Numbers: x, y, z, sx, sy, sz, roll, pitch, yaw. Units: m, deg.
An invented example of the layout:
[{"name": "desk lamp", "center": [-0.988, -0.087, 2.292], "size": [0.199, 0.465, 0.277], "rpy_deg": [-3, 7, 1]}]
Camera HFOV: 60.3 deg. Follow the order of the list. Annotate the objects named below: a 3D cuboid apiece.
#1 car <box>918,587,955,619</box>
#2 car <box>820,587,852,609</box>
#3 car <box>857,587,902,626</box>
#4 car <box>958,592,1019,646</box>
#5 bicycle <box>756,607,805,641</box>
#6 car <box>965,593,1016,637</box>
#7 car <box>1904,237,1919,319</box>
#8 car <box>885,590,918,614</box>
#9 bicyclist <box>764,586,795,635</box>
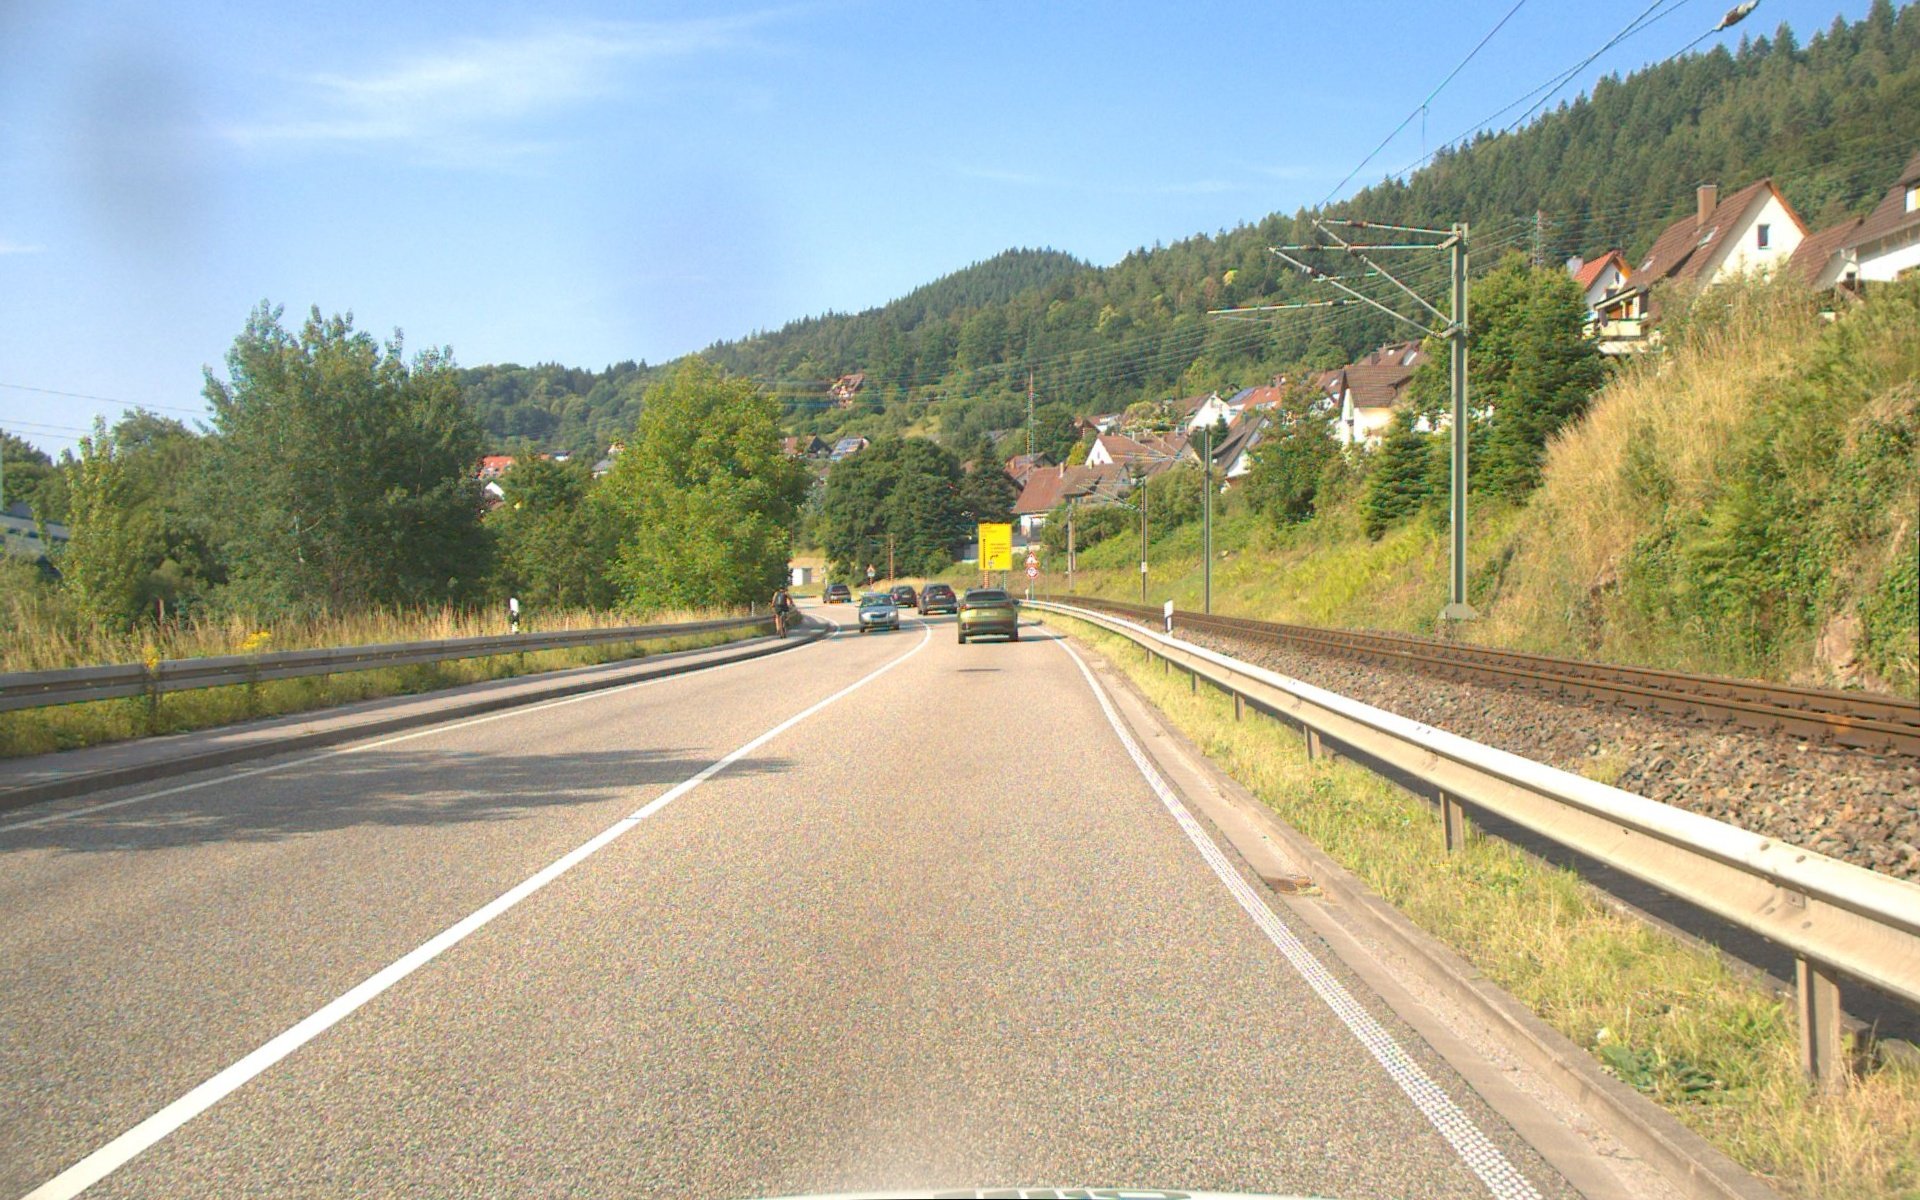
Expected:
[{"name": "car", "center": [-1.302, 0.161, 90.867], "size": [1.843, 1.716, 3.997], "rpy_deg": [1, 0, -4]}, {"name": "car", "center": [-10.943, -0.172, 145.404], "size": [2.029, 1.843, 3.983], "rpy_deg": [2, 0, -16]}, {"name": "car", "center": [-3.253, 0.238, 67.506], "size": [1.545, 1.505, 4.000], "rpy_deg": [1, 0, 1]}, {"name": "car", "center": [0.788, 0.513, 47.393], "size": [1.679, 1.480, 4.000], "rpy_deg": [0, 0, 0]}, {"name": "bicycle", "center": [-5.969, 0.792, 55.163], "size": [0.546, 1.064, 2.228], "rpy_deg": [2, 1, 24]}, {"name": "car", "center": [1.099, 0.541, 61.613], "size": [1.634, 1.586, 3.998], "rpy_deg": [0, 0, -3]}, {"name": "car", "center": [21.156, -6.483, 33.046], "size": [3.668, 1.567, 1.750], "rpy_deg": [2, -1, -6]}, {"name": "car", "center": [-3.977, 0.126, 112.168], "size": [1.814, 1.553, 3.656], "rpy_deg": [1, 0, -8]}, {"name": "bicyclist", "center": [-6.009, 0.335, 55.019], "size": [0.546, 1.614, 1.035], "rpy_deg": [2, 1, 24]}]
